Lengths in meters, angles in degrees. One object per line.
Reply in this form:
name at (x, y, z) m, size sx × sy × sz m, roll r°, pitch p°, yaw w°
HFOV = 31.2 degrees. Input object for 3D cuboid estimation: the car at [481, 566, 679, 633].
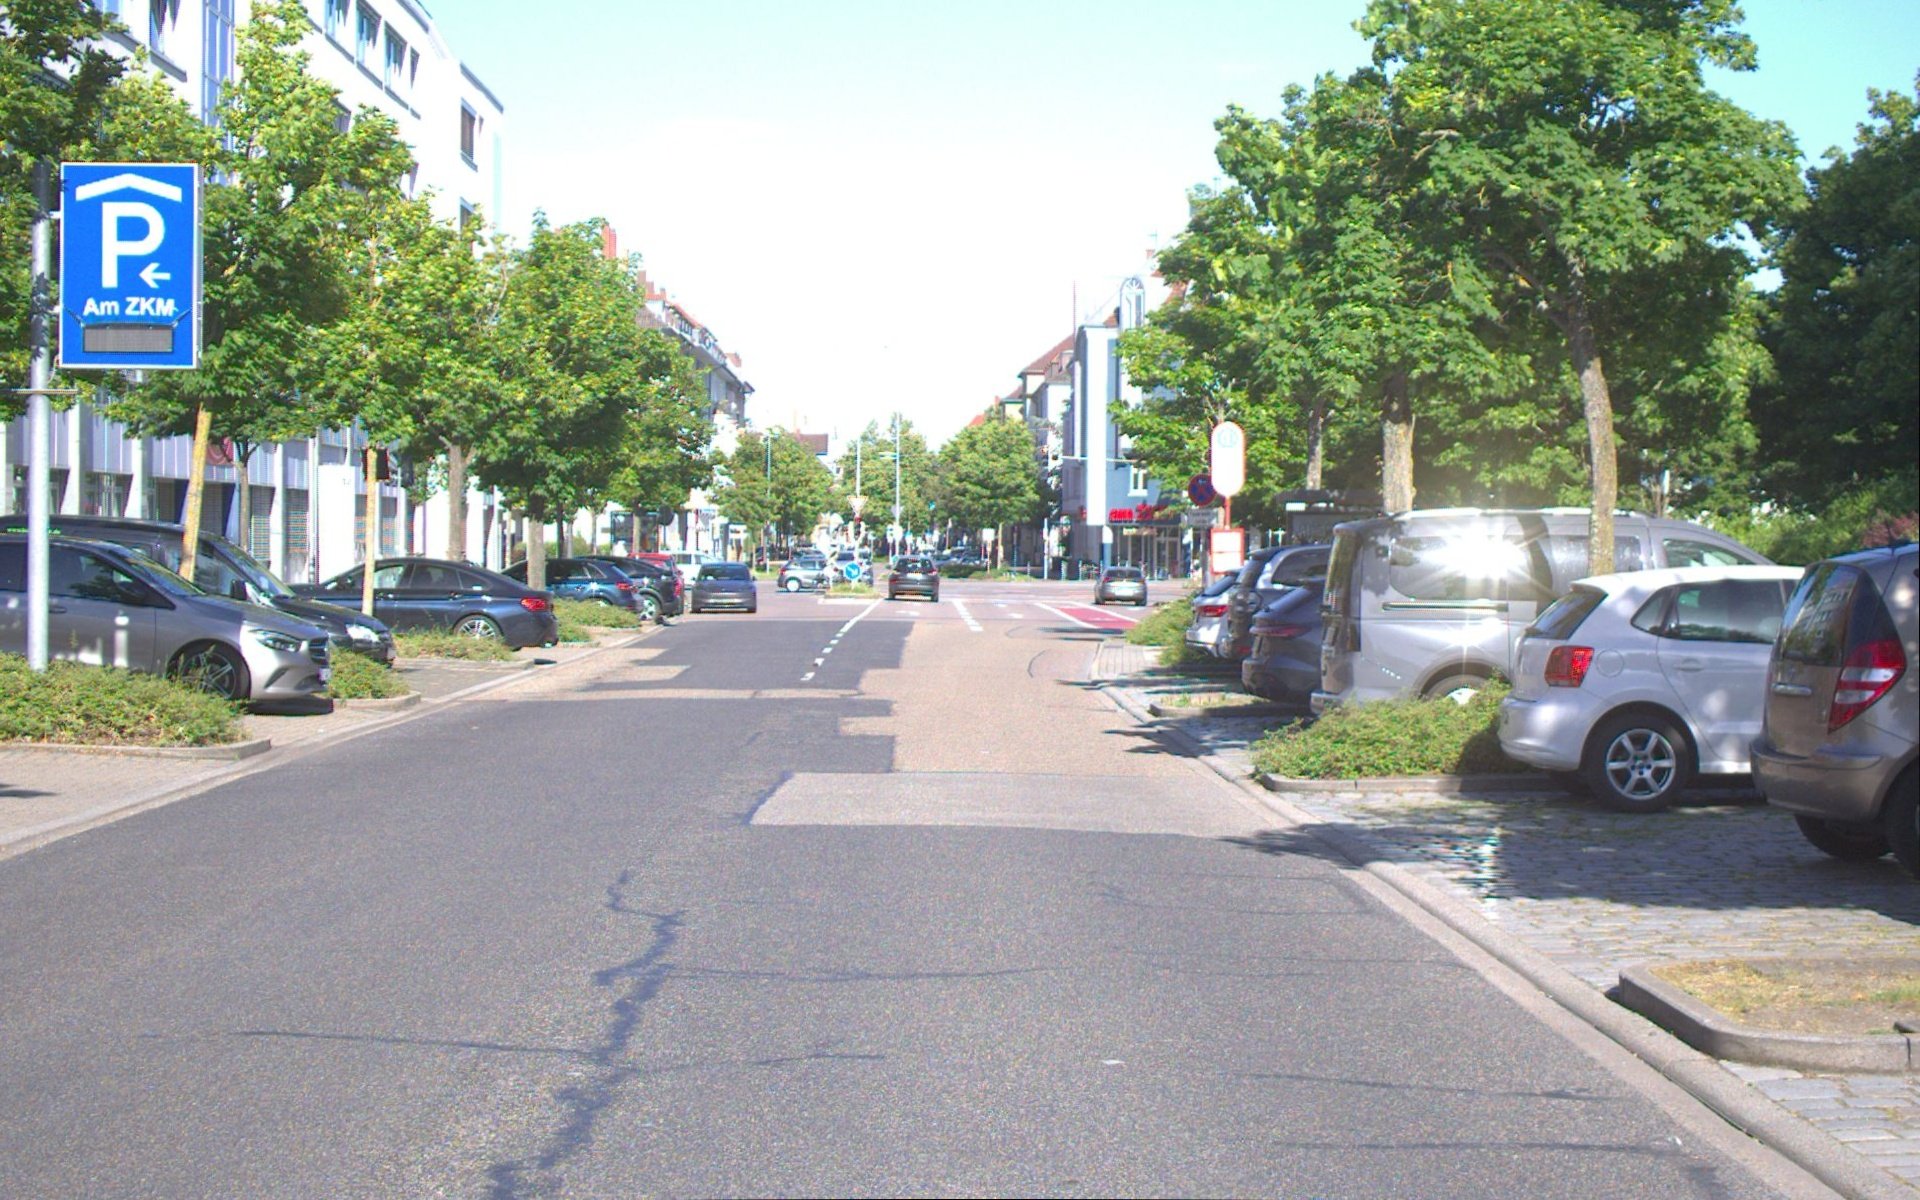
car at (-8.594, -0.023, 78.021) m, size 4.331 × 1.469 × 1.818 m, roll 0°, pitch 2°, yaw -1°

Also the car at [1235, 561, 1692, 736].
car at (4.448, 0.411, 30.862) m, size 3.913 × 1.469 × 1.795 m, roll 0°, pitch 2°, yaw 4°

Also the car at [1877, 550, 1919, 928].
car at (5.884, 0.568, 13.645) m, size 3.987 × 1.533 × 1.861 m, roll 0°, pitch 0°, yaw 0°

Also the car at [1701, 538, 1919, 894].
car at (5.718, 0.512, 16.250) m, size 3.987 × 1.576 × 2.031 m, roll 0°, pitch 0°, yaw 0°

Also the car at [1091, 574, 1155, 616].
car at (6.105, -0.200, 129.262) m, size 1.989 × 1.469 × 4.111 m, roll 0°, pitch 2°, yaw -3°

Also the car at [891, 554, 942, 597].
car at (-1.569, -0.898, 125.359) m, size 1.812 × 1.469 × 4.111 m, roll 0°, pitch 2°, yaw 0°

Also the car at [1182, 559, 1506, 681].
car at (4.730, 0.251, 42.735) m, size 3.913 × 1.469 × 1.757 m, roll 0°, pitch -1°, yaw 4°

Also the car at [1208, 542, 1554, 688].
car at (4.885, 0.153, 40.356) m, size 3.913 × 1.636 × 1.877 m, roll 0°, pitch 2°, yaw 4°

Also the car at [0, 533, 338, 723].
car at (-7.924, 0.236, 31.281) m, size 4.261 × 1.660 × 1.599 m, roll 0°, pitch 2°, yaw -1°

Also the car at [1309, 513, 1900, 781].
car at (4.634, 0.310, 25.125) m, size 3.987 × 1.873 × 1.683 m, roll 0°, pitch 2°, yaw 0°

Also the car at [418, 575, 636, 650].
car at (-8.951, 0.252, 71.330) m, size 4.331 × 1.469 × 1.818 m, roll 0°, pitch 2°, yaw -1°

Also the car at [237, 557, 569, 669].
car at (-7.574, 0.169, 47.058) m, size 4.330 × 1.469 × 1.818 m, roll 0°, pitch 2°, yaw -4°

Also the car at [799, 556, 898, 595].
car at (-4.654, -1.015, 142.857) m, size 3.986 × 1.556 × 2.001 m, roll 0°, pitch 2°, yaw -5°

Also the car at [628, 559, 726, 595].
car at (-12.133, -0.990, 147.483) m, size 4.096 × 1.469 × 1.818 m, roll 0°, pitch 2°, yaw -1°

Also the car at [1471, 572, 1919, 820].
car at (5.175, 0.559, 21.136) m, size 3.765 × 1.454 × 1.818 m, roll 0°, pitch 0°, yaw -1°

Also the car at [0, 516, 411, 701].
car at (-8.057, 0.067, 35.908) m, size 4.331 × 1.855 × 1.818 m, roll 0°, pitch 2°, yaw 1°

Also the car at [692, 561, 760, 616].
car at (-6.687, -0.355, 98.556) m, size 1.811 × 1.469 × 4.111 m, roll 0°, pitch 2°, yaw -2°
